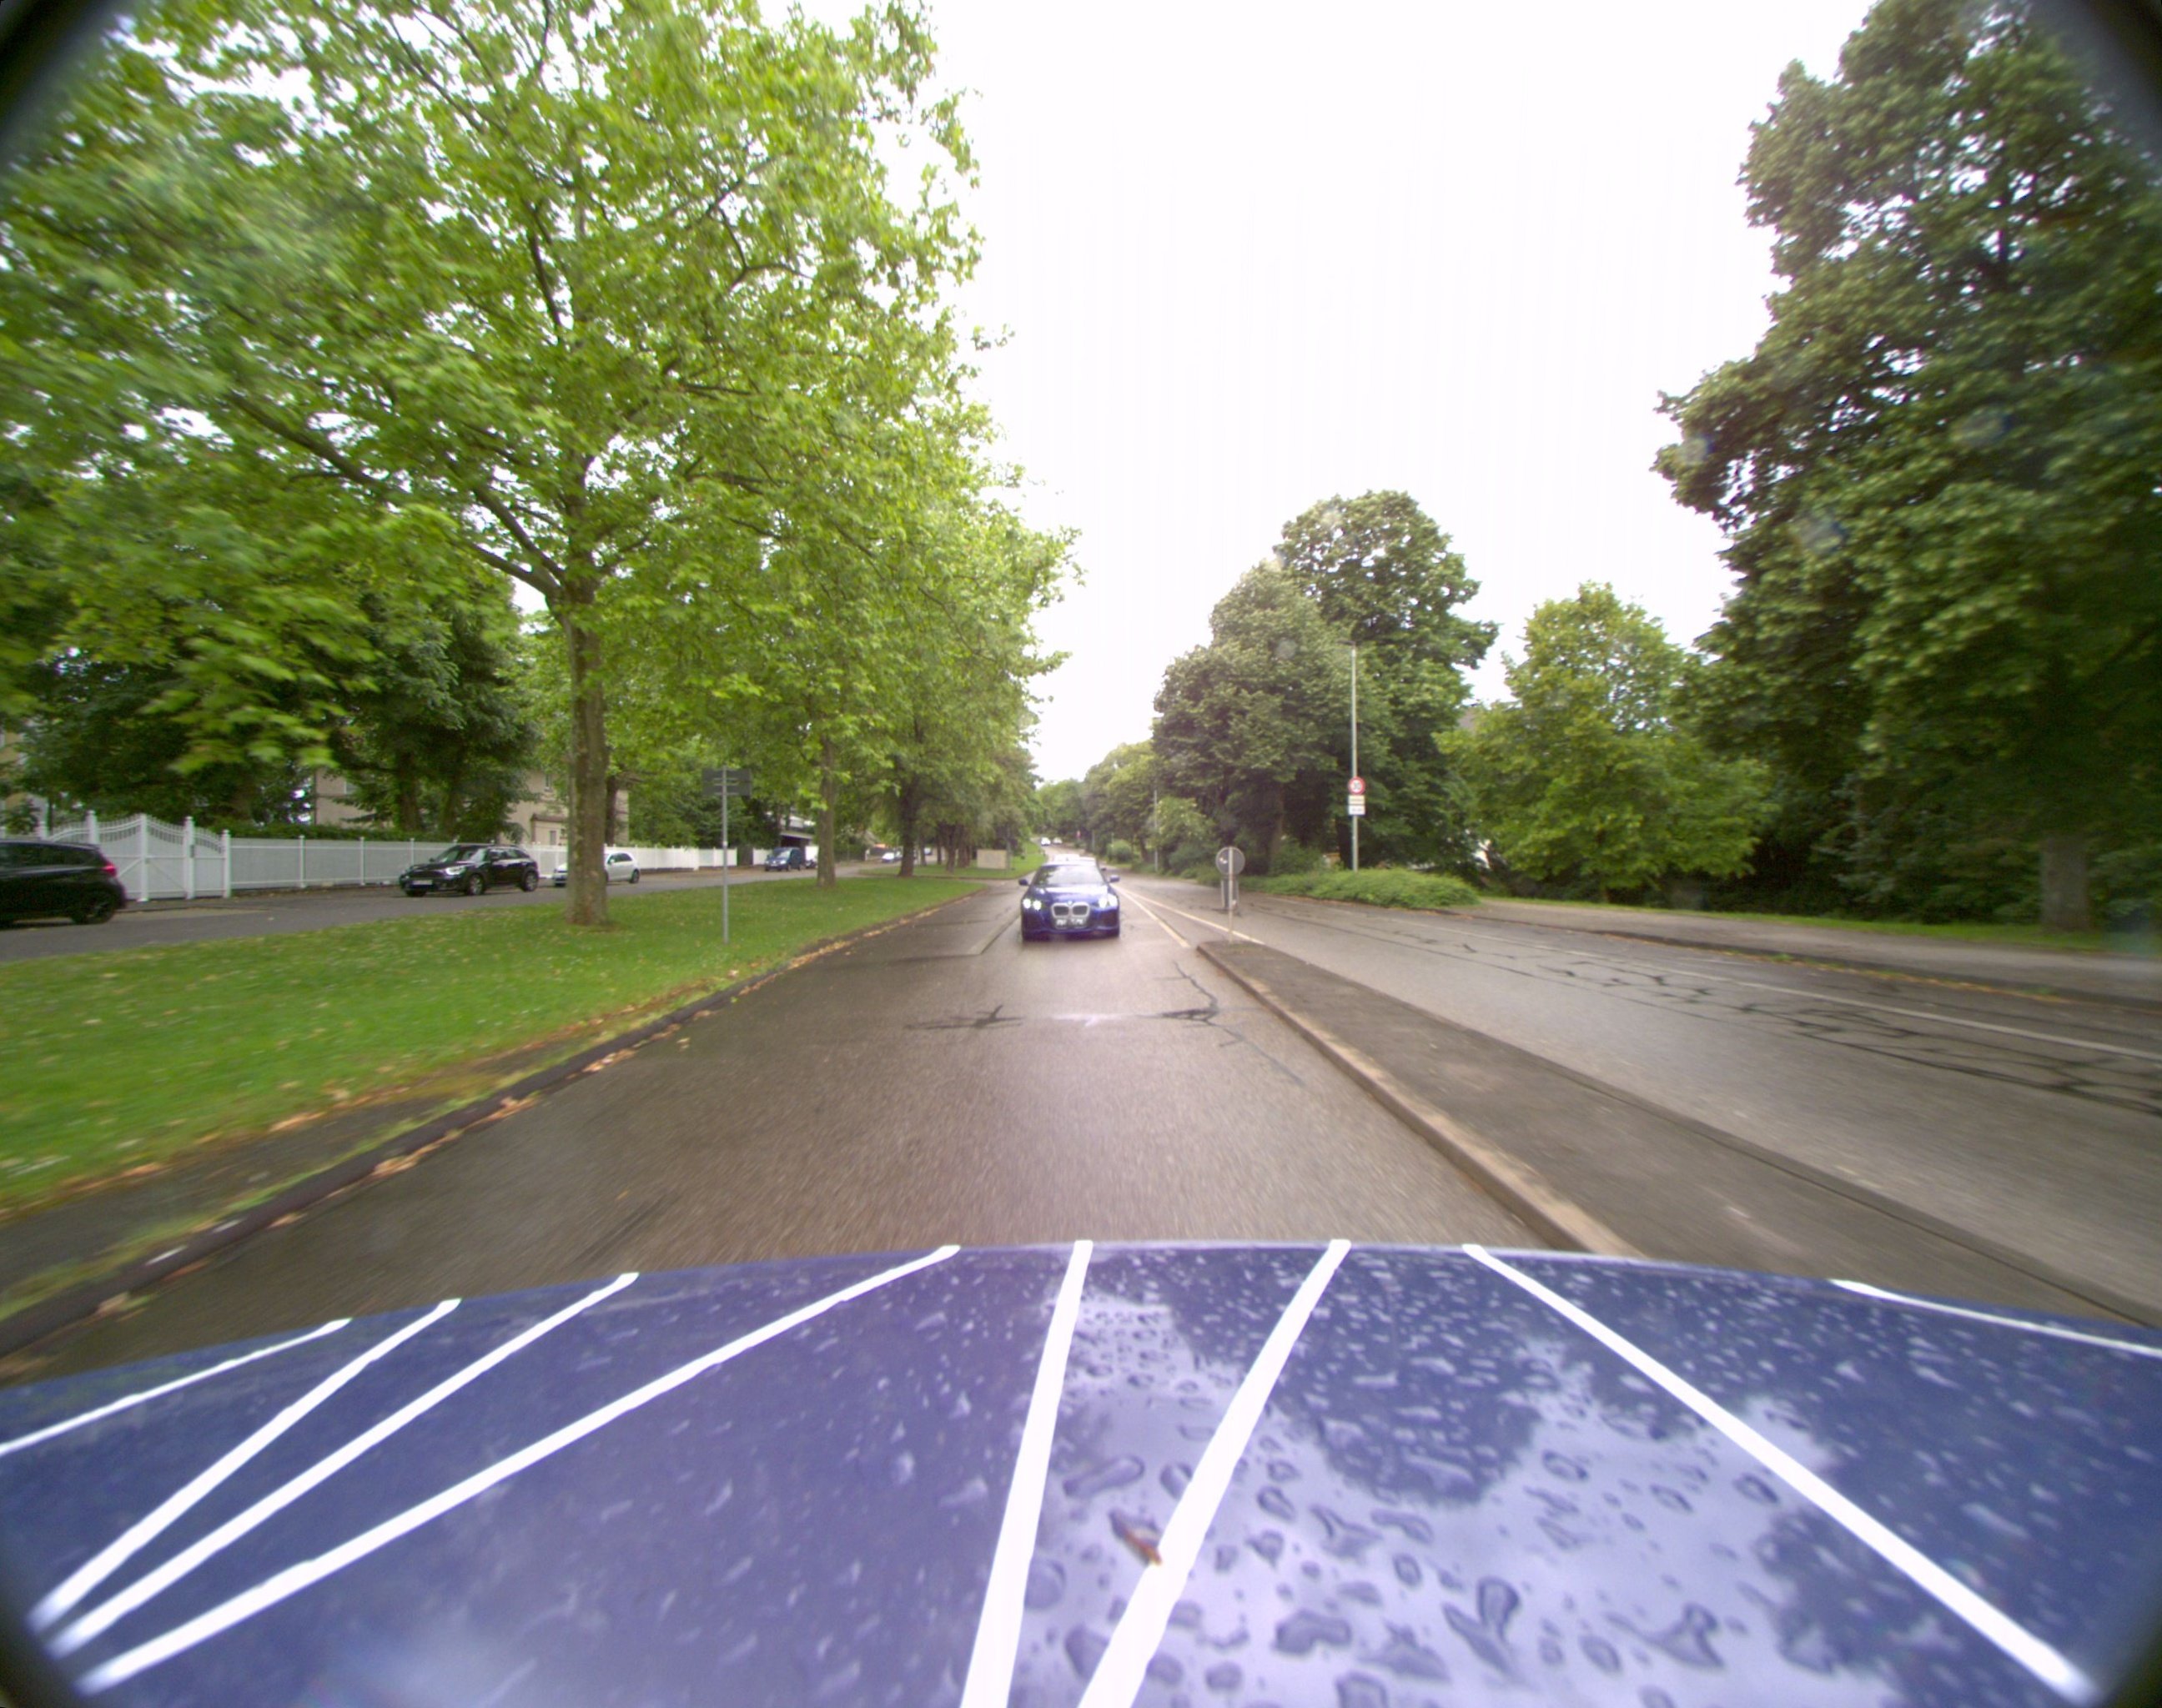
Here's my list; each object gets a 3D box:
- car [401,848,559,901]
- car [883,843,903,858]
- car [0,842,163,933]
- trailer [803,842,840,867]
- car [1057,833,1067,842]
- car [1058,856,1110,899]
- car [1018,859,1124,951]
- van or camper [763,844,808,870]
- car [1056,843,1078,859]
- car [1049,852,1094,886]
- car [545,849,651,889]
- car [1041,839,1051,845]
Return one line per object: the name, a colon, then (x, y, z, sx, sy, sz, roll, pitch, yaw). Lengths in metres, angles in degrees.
car: (-19.197, 0.588, 24.556, 1.999, 1.462, 4.122, -2, 1, -5)
car: (-27.002, -0.513, 109.212, 1.999, 2.002, 3.999, 0, 1, -2)
car: (-18.200, 0.595, 12.187, 1.765, 1.462, 4.354, -4, 1, -5)
trailer: (-22.970, 0.008, 67.452, 1.772, 2.104, 5.190, -2, 1, -4)
car: (-4.560, -3.945, 183.397, 2.000, 2.001, 4.573, -2, -2, -6)
car: (0.054, 0.861, 30.245, 1.826, 1.471, 4.066, -2, 1, -2)
car: (-0.251, 0.906, 15.417, 1.826, 1.471, 4.066, -2, 1, -2)
van or camper: (-22.285, 0.175, 57.517, 2.000, 1.798, 4.772, -2, 1, -7)
car: (-1.403, -0.331, 79.391, 1.825, 1.471, 4.068, -2, 1, 5)
car: (-0.498, 0.674, 37.140, 2.032, 1.471, 4.066, -2, 1, -2)
car: (-20.095, 0.578, 31.849, 1.999, 1.440, 4.122, -2, 1, -5)
car: (-8.228, -2.856, 178.885, 1.825, 1.471, 4.068, -2, 1, 3)
